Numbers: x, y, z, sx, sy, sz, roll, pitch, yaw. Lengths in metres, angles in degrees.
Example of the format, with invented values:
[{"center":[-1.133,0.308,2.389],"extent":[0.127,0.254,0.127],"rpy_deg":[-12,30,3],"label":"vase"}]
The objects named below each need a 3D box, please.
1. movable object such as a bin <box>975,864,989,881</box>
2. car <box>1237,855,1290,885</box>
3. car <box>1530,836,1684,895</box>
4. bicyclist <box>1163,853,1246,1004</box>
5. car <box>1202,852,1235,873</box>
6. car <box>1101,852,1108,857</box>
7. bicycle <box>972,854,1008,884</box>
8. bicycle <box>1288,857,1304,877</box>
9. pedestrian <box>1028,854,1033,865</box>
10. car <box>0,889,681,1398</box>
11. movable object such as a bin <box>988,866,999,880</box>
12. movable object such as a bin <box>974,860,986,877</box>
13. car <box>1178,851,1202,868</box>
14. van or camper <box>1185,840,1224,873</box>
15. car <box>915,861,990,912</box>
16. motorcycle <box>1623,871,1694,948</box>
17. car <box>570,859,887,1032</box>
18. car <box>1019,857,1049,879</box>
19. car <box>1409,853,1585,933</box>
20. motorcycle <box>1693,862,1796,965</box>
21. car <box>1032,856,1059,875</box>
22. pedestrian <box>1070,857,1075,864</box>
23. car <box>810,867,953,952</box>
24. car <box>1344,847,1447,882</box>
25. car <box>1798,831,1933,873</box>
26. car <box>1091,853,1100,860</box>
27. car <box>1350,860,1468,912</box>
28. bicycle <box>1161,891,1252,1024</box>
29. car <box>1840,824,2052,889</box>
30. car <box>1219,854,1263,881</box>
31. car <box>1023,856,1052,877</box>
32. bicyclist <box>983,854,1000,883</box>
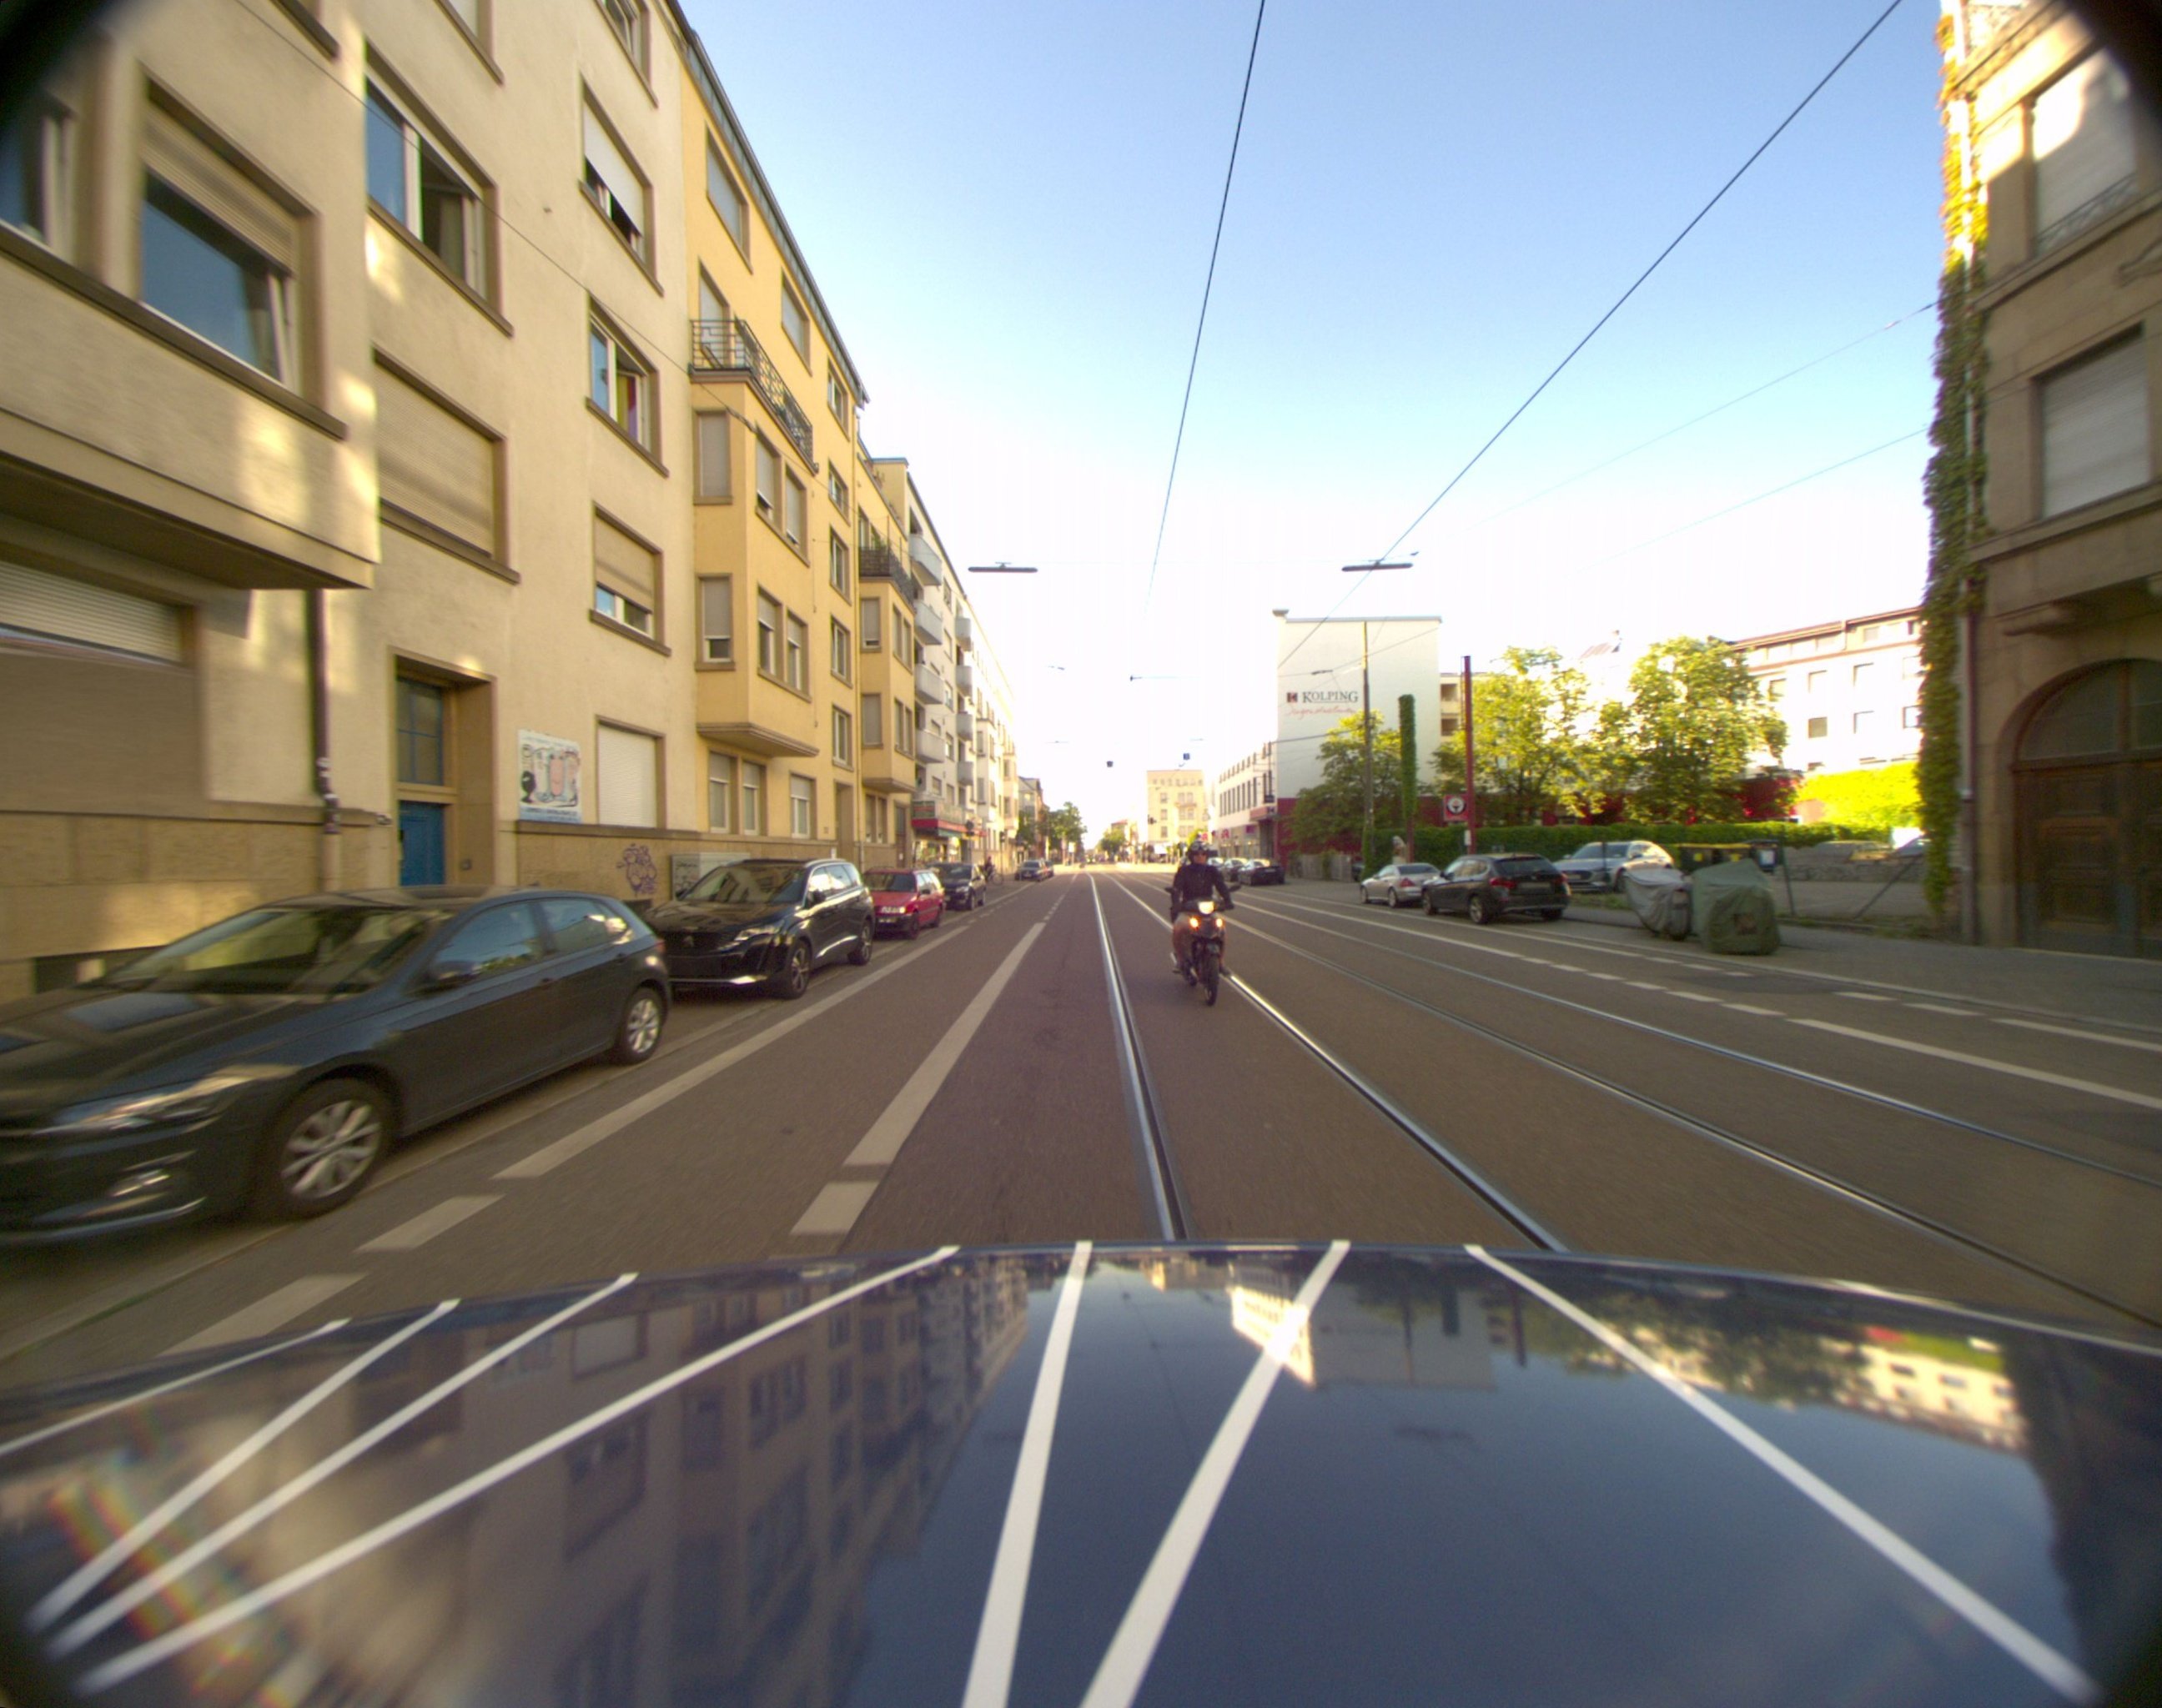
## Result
[{"center":[-6.208,1.168,47.838],"extent":[0.772,1.066,0.618],"rpy_deg":[-2,1,0],"label":"movable object such as a bin"},{"center":[10.000,0.852,42.057],"extent":[1.787,1.437,4.841],"rpy_deg":[-3,0,1],"label":"car"},{"center":[15.590,0.297,22.454],"extent":[4.804,1.509,1.995],"rpy_deg":[-2,1,-32],"label":"car"},{"center":[1.314,0.765,8.266],"extent":[0.774,1.531,0.939],"rpy_deg":[-1,1,3],"label":"bicyclist"},{"center":[10.255,0.594,57.022],"extent":[1.787,1.390,4.445],"rpy_deg":[-3,0,2],"label":"car"},{"center":[6.900,0.105,224.363],"extent":[1.970,1.577,4.000],"rpy_deg":[-2,0,3],"label":"car"},{"center":[-5.388,0.862,44.845],"extent":[1.935,1.700,0.775],"rpy_deg":[-2,1,4],"label":"bicycle"},{"center":[12.956,0.773,45.847],"extent":[0.440,1.168,2.050],"rpy_deg":[-2,1,2],"label":"bicycle"},{"center":[-8.828,0.954,132.387],"extent":[0.650,1.944,0.583],"rpy_deg":[-1,1,-16],"label":"pedestrian"},{"center":[-4.295,1.042,4.444],"extent":[1.741,1.433,4.032],"rpy_deg":[-1,0,0],"label":"car"},{"center":[-5.935,1.282,51.311],"extent":[0.657,0.911,0.569],"rpy_deg":[-2,1,0],"label":"movable object such as a bin"},{"center":[-6.428,0.945,48.462],"extent":[0.677,1.066,0.569],"rpy_deg":[-2,1,0],"label":"movable object such as a bin"},{"center":[10.560,0.534,73.847],"extent":[1.787,1.543,3.992],"rpy_deg":[-3,0,2],"label":"car"},{"center":[10.310,0.184,63.832],"extent":[2.177,2.453,6.231],"rpy_deg":[-3,0,0],"label":"van or camper"},{"center":[-4.126,1.013,25.012],"extent":[1.722,1.482,4.001],"rpy_deg":[0,0,1],"label":"car"},{"center":[10.056,0.920,13.299],"extent":[0.740,1.164,2.184],"rpy_deg":[-1,1,31],"label":"motorcycle"},{"center":[-4.155,0.947,9.970],"extent":[1.863,1.656,4.562],"rpy_deg":[-1,0,2],"label":"car"},{"center":[-3.293,0.946,53.918],"extent":[1.714,1.399,4.358],"rpy_deg":[1,0,2],"label":"car"},{"center":[9.649,0.811,18.103],"extent":[1.787,1.556,4.611],"rpy_deg":[-3,0,3],"label":"car"},{"center":[9.906,0.833,11.421],"extent":[0.884,1.343,1.961],"rpy_deg":[-1,1,33],"label":"motorcycle"},{"center":[-2.988,0.946,64.439],"extent":[1.861,1.498,4.096],"rpy_deg":[1,0,2],"label":"car"},{"center":[-1.318,1.047,121.313],"extent":[0.774,1.197,0.610],"rpy_deg":[-1,1,-8],"label":"pedestrian"},{"center":[-4.161,1.087,16.697],"extent":[1.864,1.447,4.709],"rpy_deg":[-1,0,0],"label":"car"},{"center":[15.760,0.492,38.234],"extent":[4.372,1.588,2.000],"rpy_deg":[-2,1,2],"label":"car"},{"center":[31.310,-0.083,30.372],"extent":[4.000,1.545,1.801],"rpy_deg":[-2,0,-9],"label":"car"},{"center":[3.533,0.652,182.820],"extent":[1.970,1.577,4.000],"rpy_deg":[-2,0,1],"label":"car"},{"center":[9.911,0.911,23.346],"extent":[1.787,1.306,4.221],"rpy_deg":[-3,0,1],"label":"car"},{"center":[1.311,1.049,8.252],"extent":[0.767,1.191,1.752],"rpy_deg":[-1,1,3],"label":"bicycle"},{"center":[25.544,0.061,22.687],"extent":[1.801,1.739,4.000],"rpy_deg":[-2,0,1],"label":"car"},{"center":[10.017,0.810,47.899],"extent":[1.788,1.472,4.699],"rpy_deg":[-3,0,0],"label":"car"},{"center":[-3.335,0.965,59.237],"extent":[1.861,1.464,3.989],"rpy_deg":[1,0,2],"label":"car"},{"center":[-5.290,0.838,44.907],"extent":[0.844,1.692,0.510],"rpy_deg":[-2,1,4],"label":"bicyclist"}]
